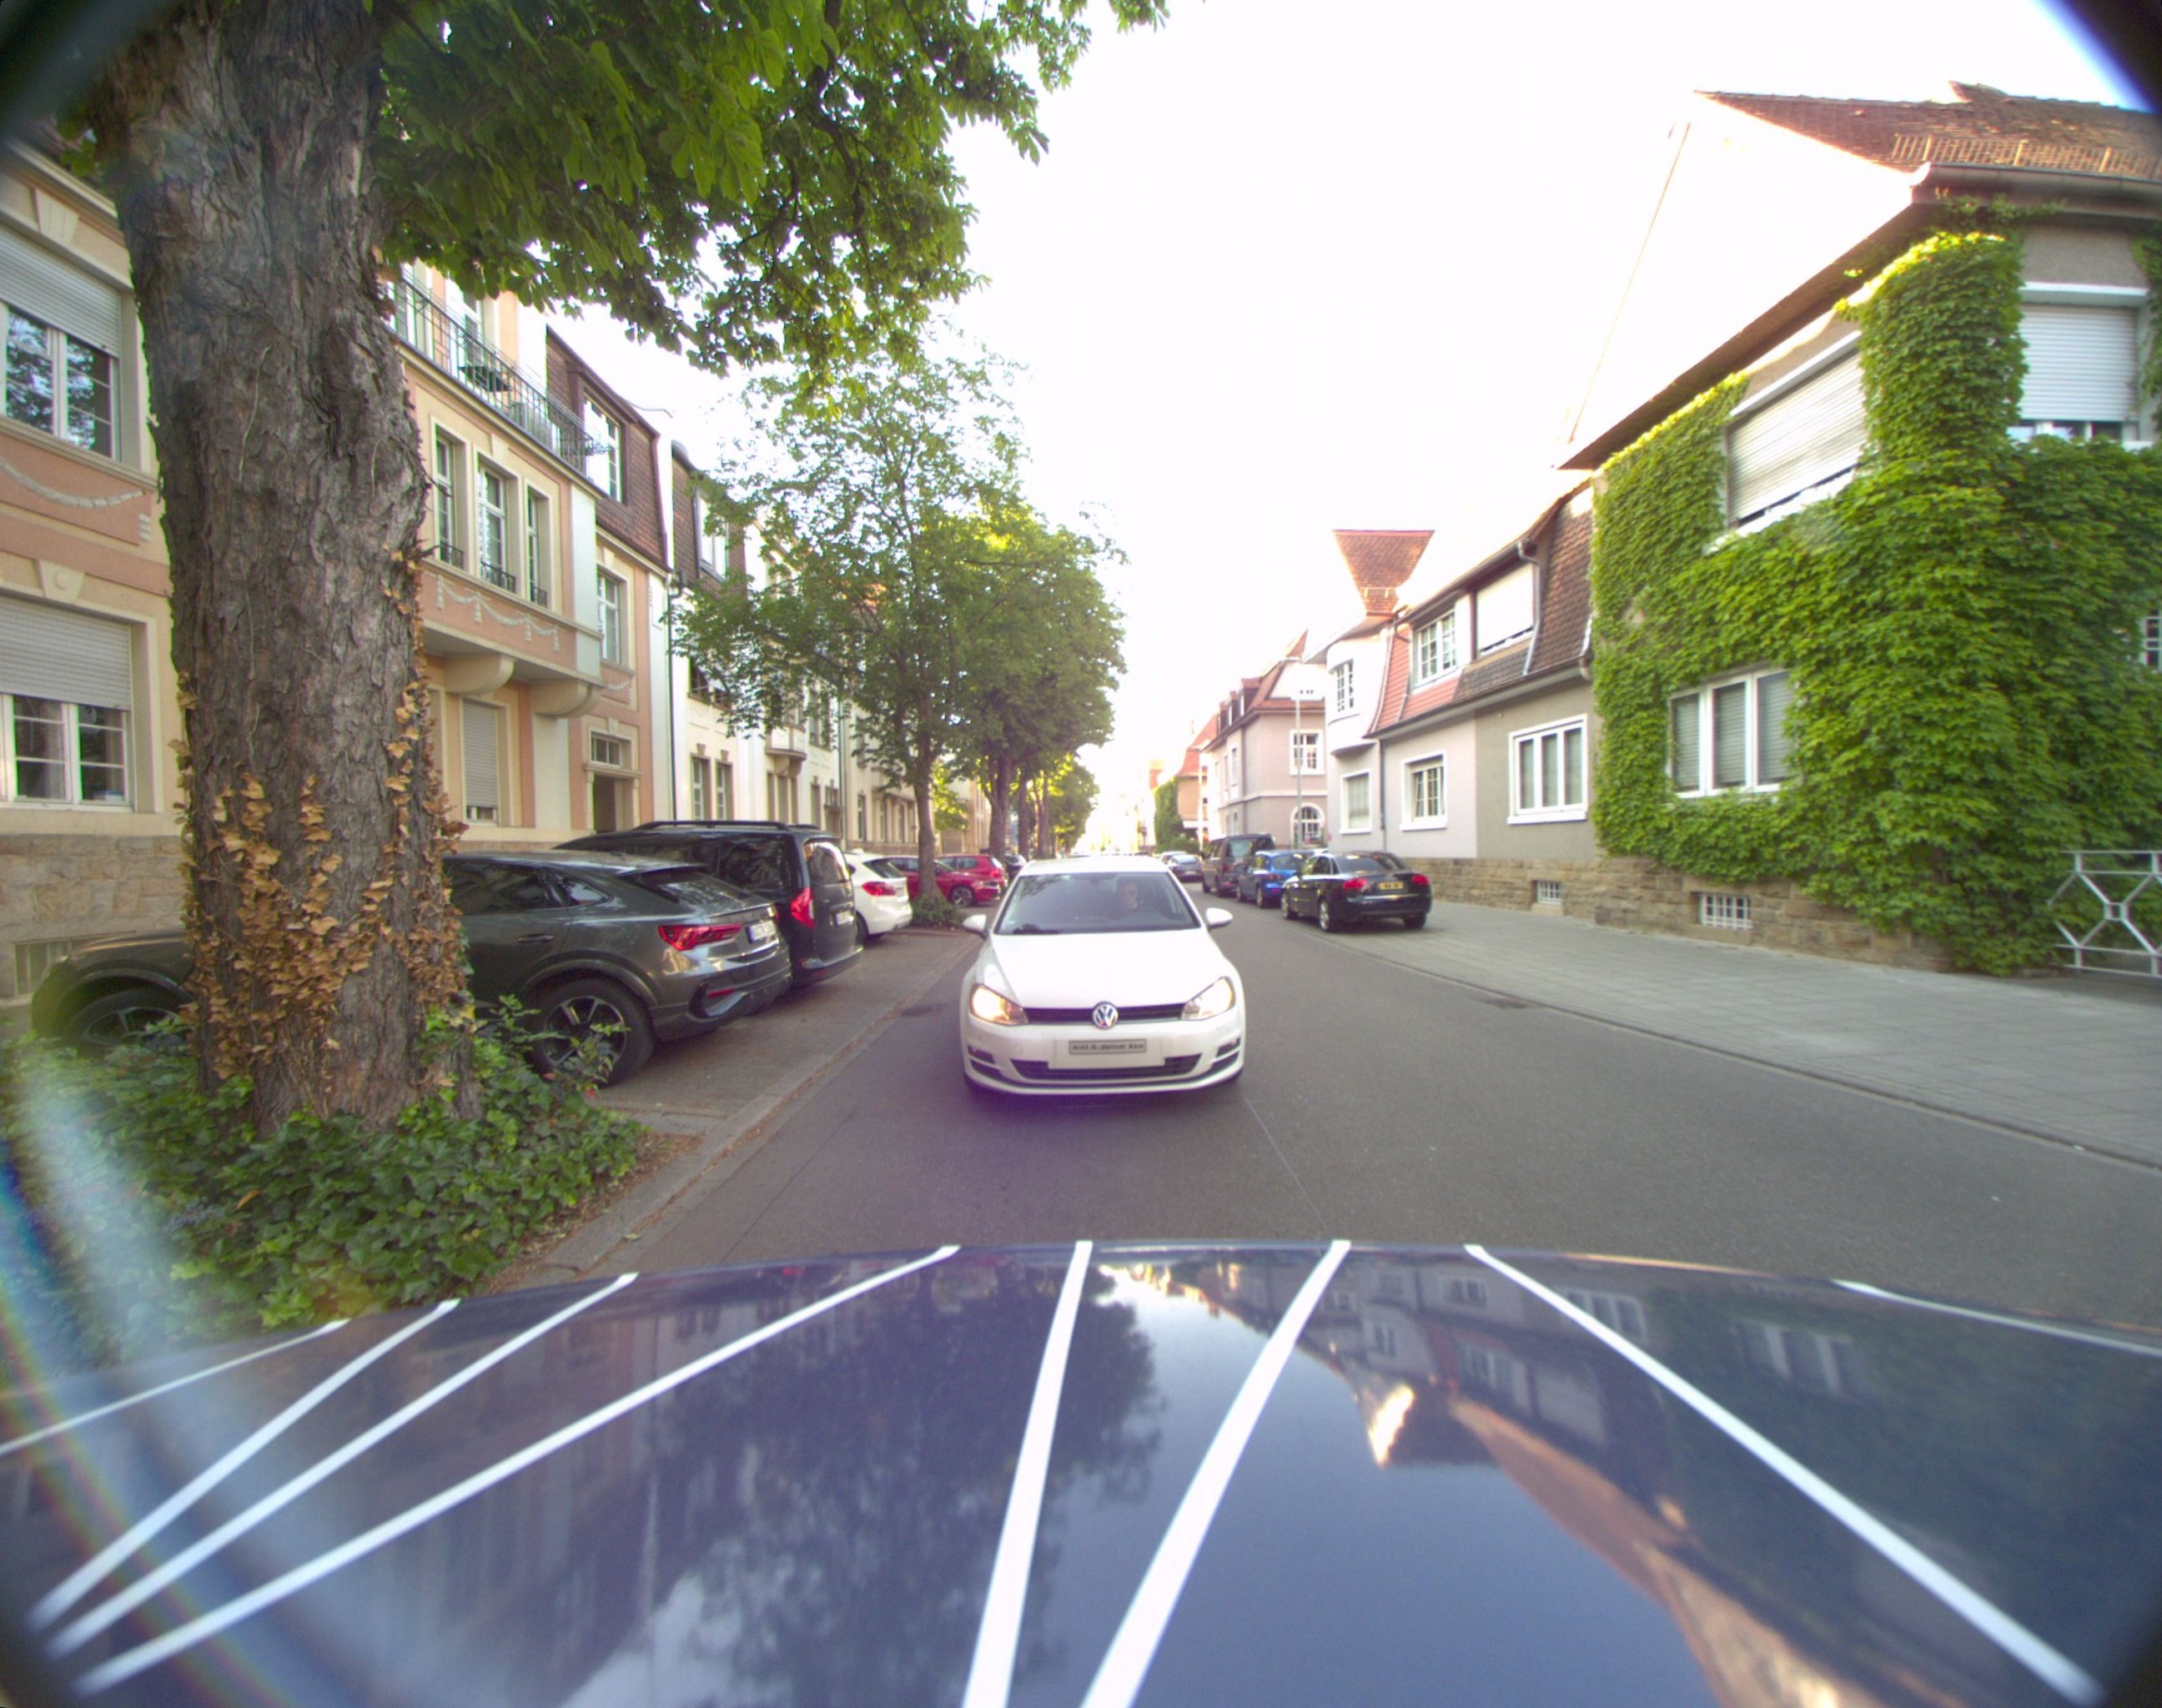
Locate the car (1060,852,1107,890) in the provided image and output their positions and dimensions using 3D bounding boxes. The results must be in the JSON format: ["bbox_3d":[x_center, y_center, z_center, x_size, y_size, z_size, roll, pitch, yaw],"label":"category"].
[{"bbox_3d":[0.141,0.689,32.301,1.819,1.454,4.072,-2,0,1],"label":"car"}]

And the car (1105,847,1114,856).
[{"bbox_3d":[5.566,-0.475,149.120,1.699,1.520,3.677,-3,1,2],"label":"car"}]

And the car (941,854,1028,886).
[{"bbox_3d":[-4.315,0.715,34.326,3.680,1.390,1.576,0,1,2],"label":"car"}]

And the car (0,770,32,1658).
[{"bbox_3d":[-4.592,0.772,0.521,4.763,1.864,1.896,0,1,-4],"label":"car"}]

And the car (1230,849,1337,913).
[{"bbox_3d":[5.280,0.646,20.343,1.768,1.438,4.062,-3,1,0],"label":"car"}]

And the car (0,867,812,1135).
[{"bbox_3d":[-4.538,0.886,5.507,4.522,1.514,1.844,0,1,-4],"label":"car"}]

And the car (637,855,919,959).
[{"bbox_3d":[-4.830,0.818,12.532,3.950,1.568,1.719,0,1,0],"label":"car"}]

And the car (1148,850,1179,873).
[{"bbox_3d":[5.437,0.473,50.384,1.662,1.354,3.677,-3,1,2],"label":"car"}]

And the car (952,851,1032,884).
[{"bbox_3d":[-4.282,0.625,36.840,3.680,1.548,1.576,0,1,2],"label":"car"}]

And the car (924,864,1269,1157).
[{"bbox_3d":[0.122,0.880,6.163,1.819,1.454,4.072,-2,0,1],"label":"car"}]

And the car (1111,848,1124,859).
[{"bbox_3d":[5.544,-0.145,115.863,1.699,1.520,3.677,-3,1,2],"label":"car"}]

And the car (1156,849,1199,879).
[{"bbox_3d":[5.282,0.506,42.144,1.932,1.458,4.062,-3,1,2],"label":"car"}]

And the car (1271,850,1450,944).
[{"bbox_3d":[5.142,0.698,14.675,1.806,1.438,4.428,-3,1,0],"label":"car"}]

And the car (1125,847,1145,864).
[{"bbox_3d":[5.331,0.118,75.272,1.699,1.520,3.677,-3,1,2],"label":"car"}]

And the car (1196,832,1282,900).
[{"bbox_3d":[5.145,0.355,25.354,1.842,1.964,4.612,-3,1,0],"label":"car"}]

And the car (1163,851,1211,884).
[{"bbox_3d":[5.060,0.596,36.668,1.932,1.376,4.063,-3,1,4],"label":"car"}]

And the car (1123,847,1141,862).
[{"bbox_3d":[5.432,0.060,80.764,1.699,1.520,3.677,-3,1,2],"label":"car"}]

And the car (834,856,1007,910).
[{"bbox_3d":[-4.534,0.801,21.938,4.530,1.443,1.867,0,1,3],"label":"car"}]

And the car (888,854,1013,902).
[{"bbox_3d":[-4.139,0.753,24.466,3.680,1.473,1.659,0,1,3],"label":"car"}]

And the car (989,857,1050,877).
[{"bbox_3d":[-3.567,0.731,44.436,3.399,1.143,1.542,0,1,2],"label":"car"}]

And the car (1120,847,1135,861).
[{"bbox_3d":[5.560,-0.047,91.010,1.699,1.520,3.677,-3,1,2],"label":"car"}]

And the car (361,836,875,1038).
[{"bbox_3d":[-4.436,0.740,7.832,4.121,1.827,1.844,0,1,-2],"label":"car"}]

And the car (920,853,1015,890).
[{"bbox_3d":[-4.679,0.712,31.710,3.680,1.457,1.576,0,1,2],"label":"car"}]

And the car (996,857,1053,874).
[{"bbox_3d":[-3.518,0.725,47.642,3.399,1.057,1.542,0,1,2],"label":"car"}]

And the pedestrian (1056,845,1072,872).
[{"bbox_3d":[-1.240,0.340,55.754,1.119,1.927,1.097,-3,1,-1],"label":"pedestrian"}]

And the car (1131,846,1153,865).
[{"bbox_3d":[5.418,0.151,68.007,1.699,1.558,3.677,-3,1,2],"label":"car"}]

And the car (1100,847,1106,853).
[{"bbox_3d":[5.834,-0.986,202.670,1.699,1.520,3.677,-3,1,2],"label":"car"}]
